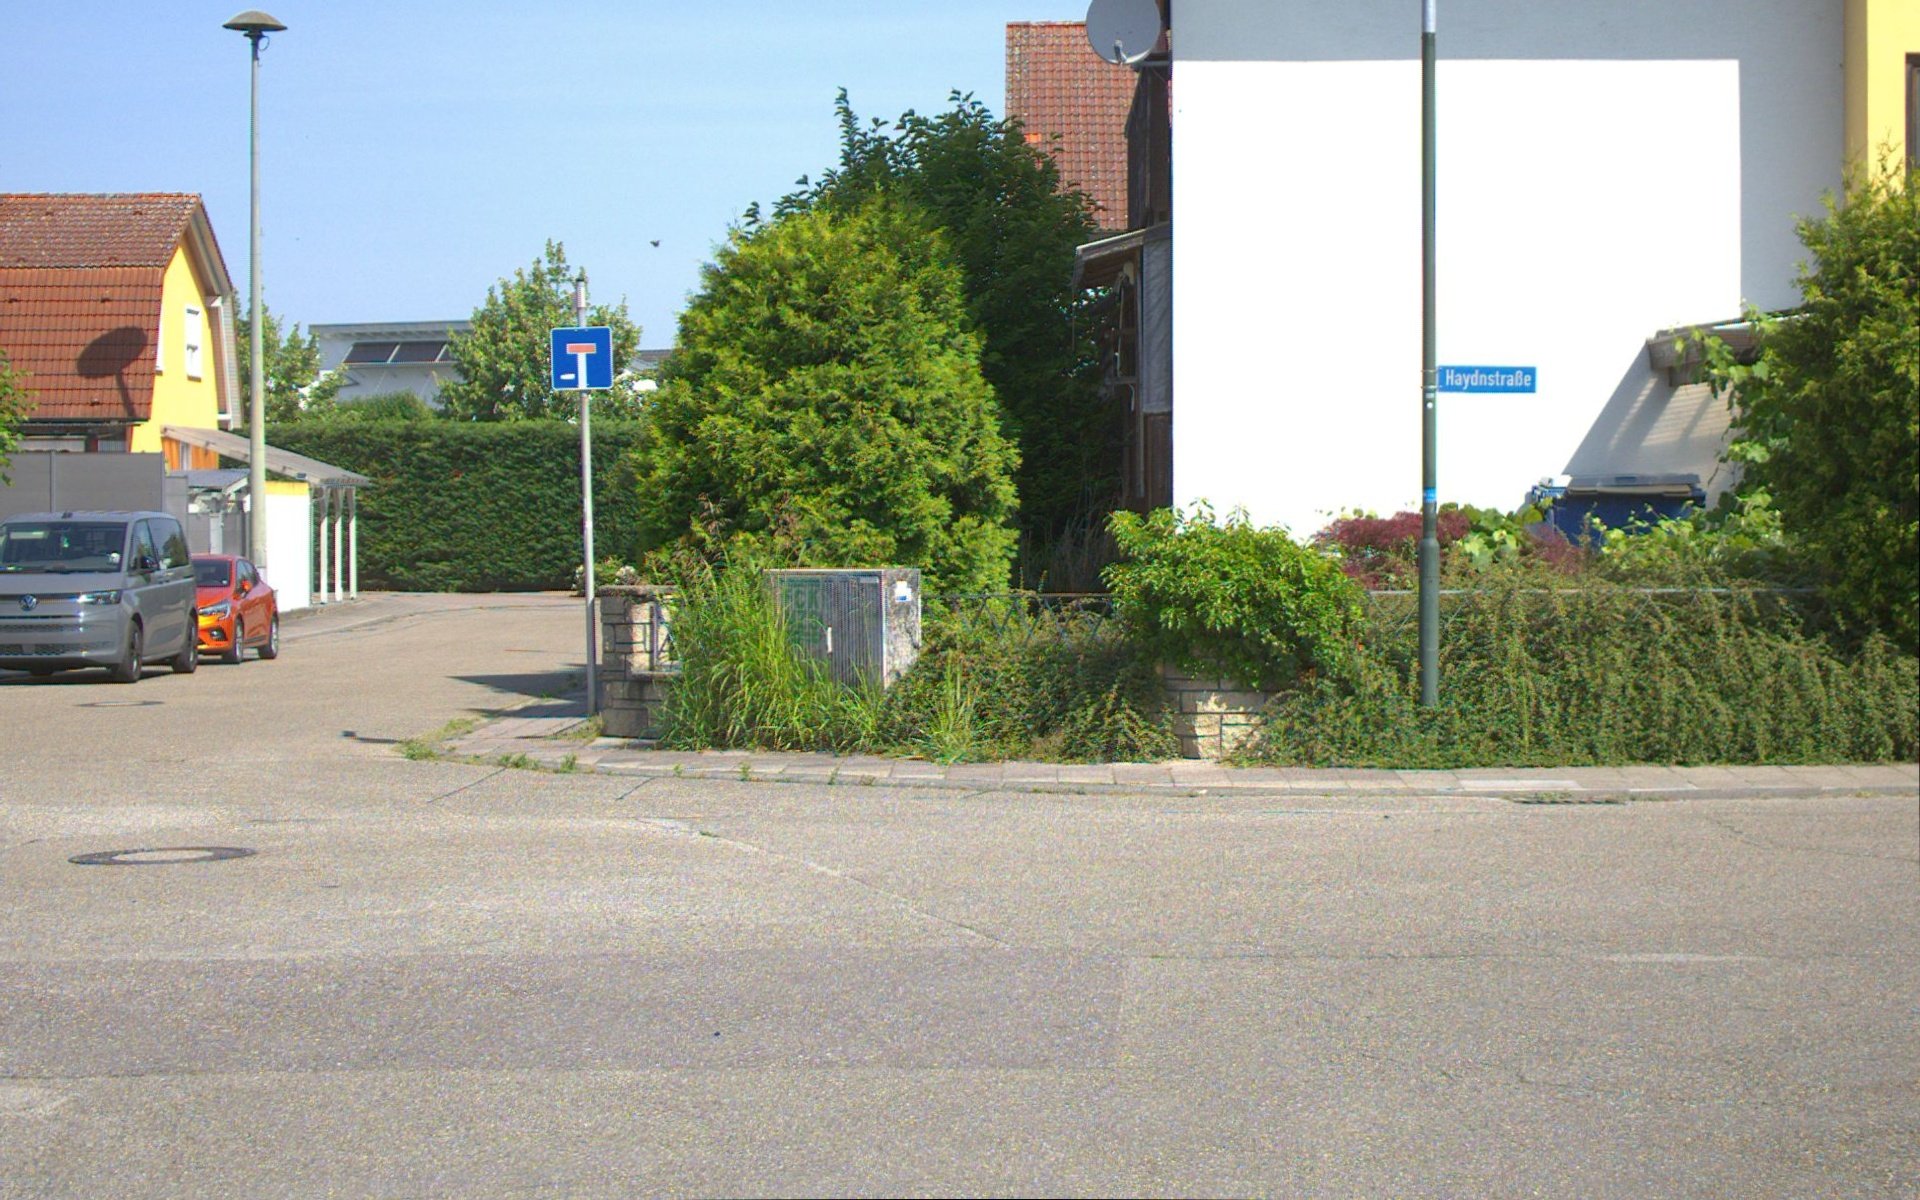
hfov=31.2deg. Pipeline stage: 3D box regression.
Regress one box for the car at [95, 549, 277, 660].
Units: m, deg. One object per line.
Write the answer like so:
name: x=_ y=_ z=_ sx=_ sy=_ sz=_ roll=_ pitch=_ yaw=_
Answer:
car: x=-10.128 y=0.031 z=45.227 sx=1.651 sy=1.360 sz=3.779 roll=0 pitch=1 yaw=-2

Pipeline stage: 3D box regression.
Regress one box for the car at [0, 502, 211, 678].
car: x=-9.896 y=-0.168 z=38.705 sx=1.901 sy=1.863 sz=4.371 roll=0 pitch=2 yaw=1
